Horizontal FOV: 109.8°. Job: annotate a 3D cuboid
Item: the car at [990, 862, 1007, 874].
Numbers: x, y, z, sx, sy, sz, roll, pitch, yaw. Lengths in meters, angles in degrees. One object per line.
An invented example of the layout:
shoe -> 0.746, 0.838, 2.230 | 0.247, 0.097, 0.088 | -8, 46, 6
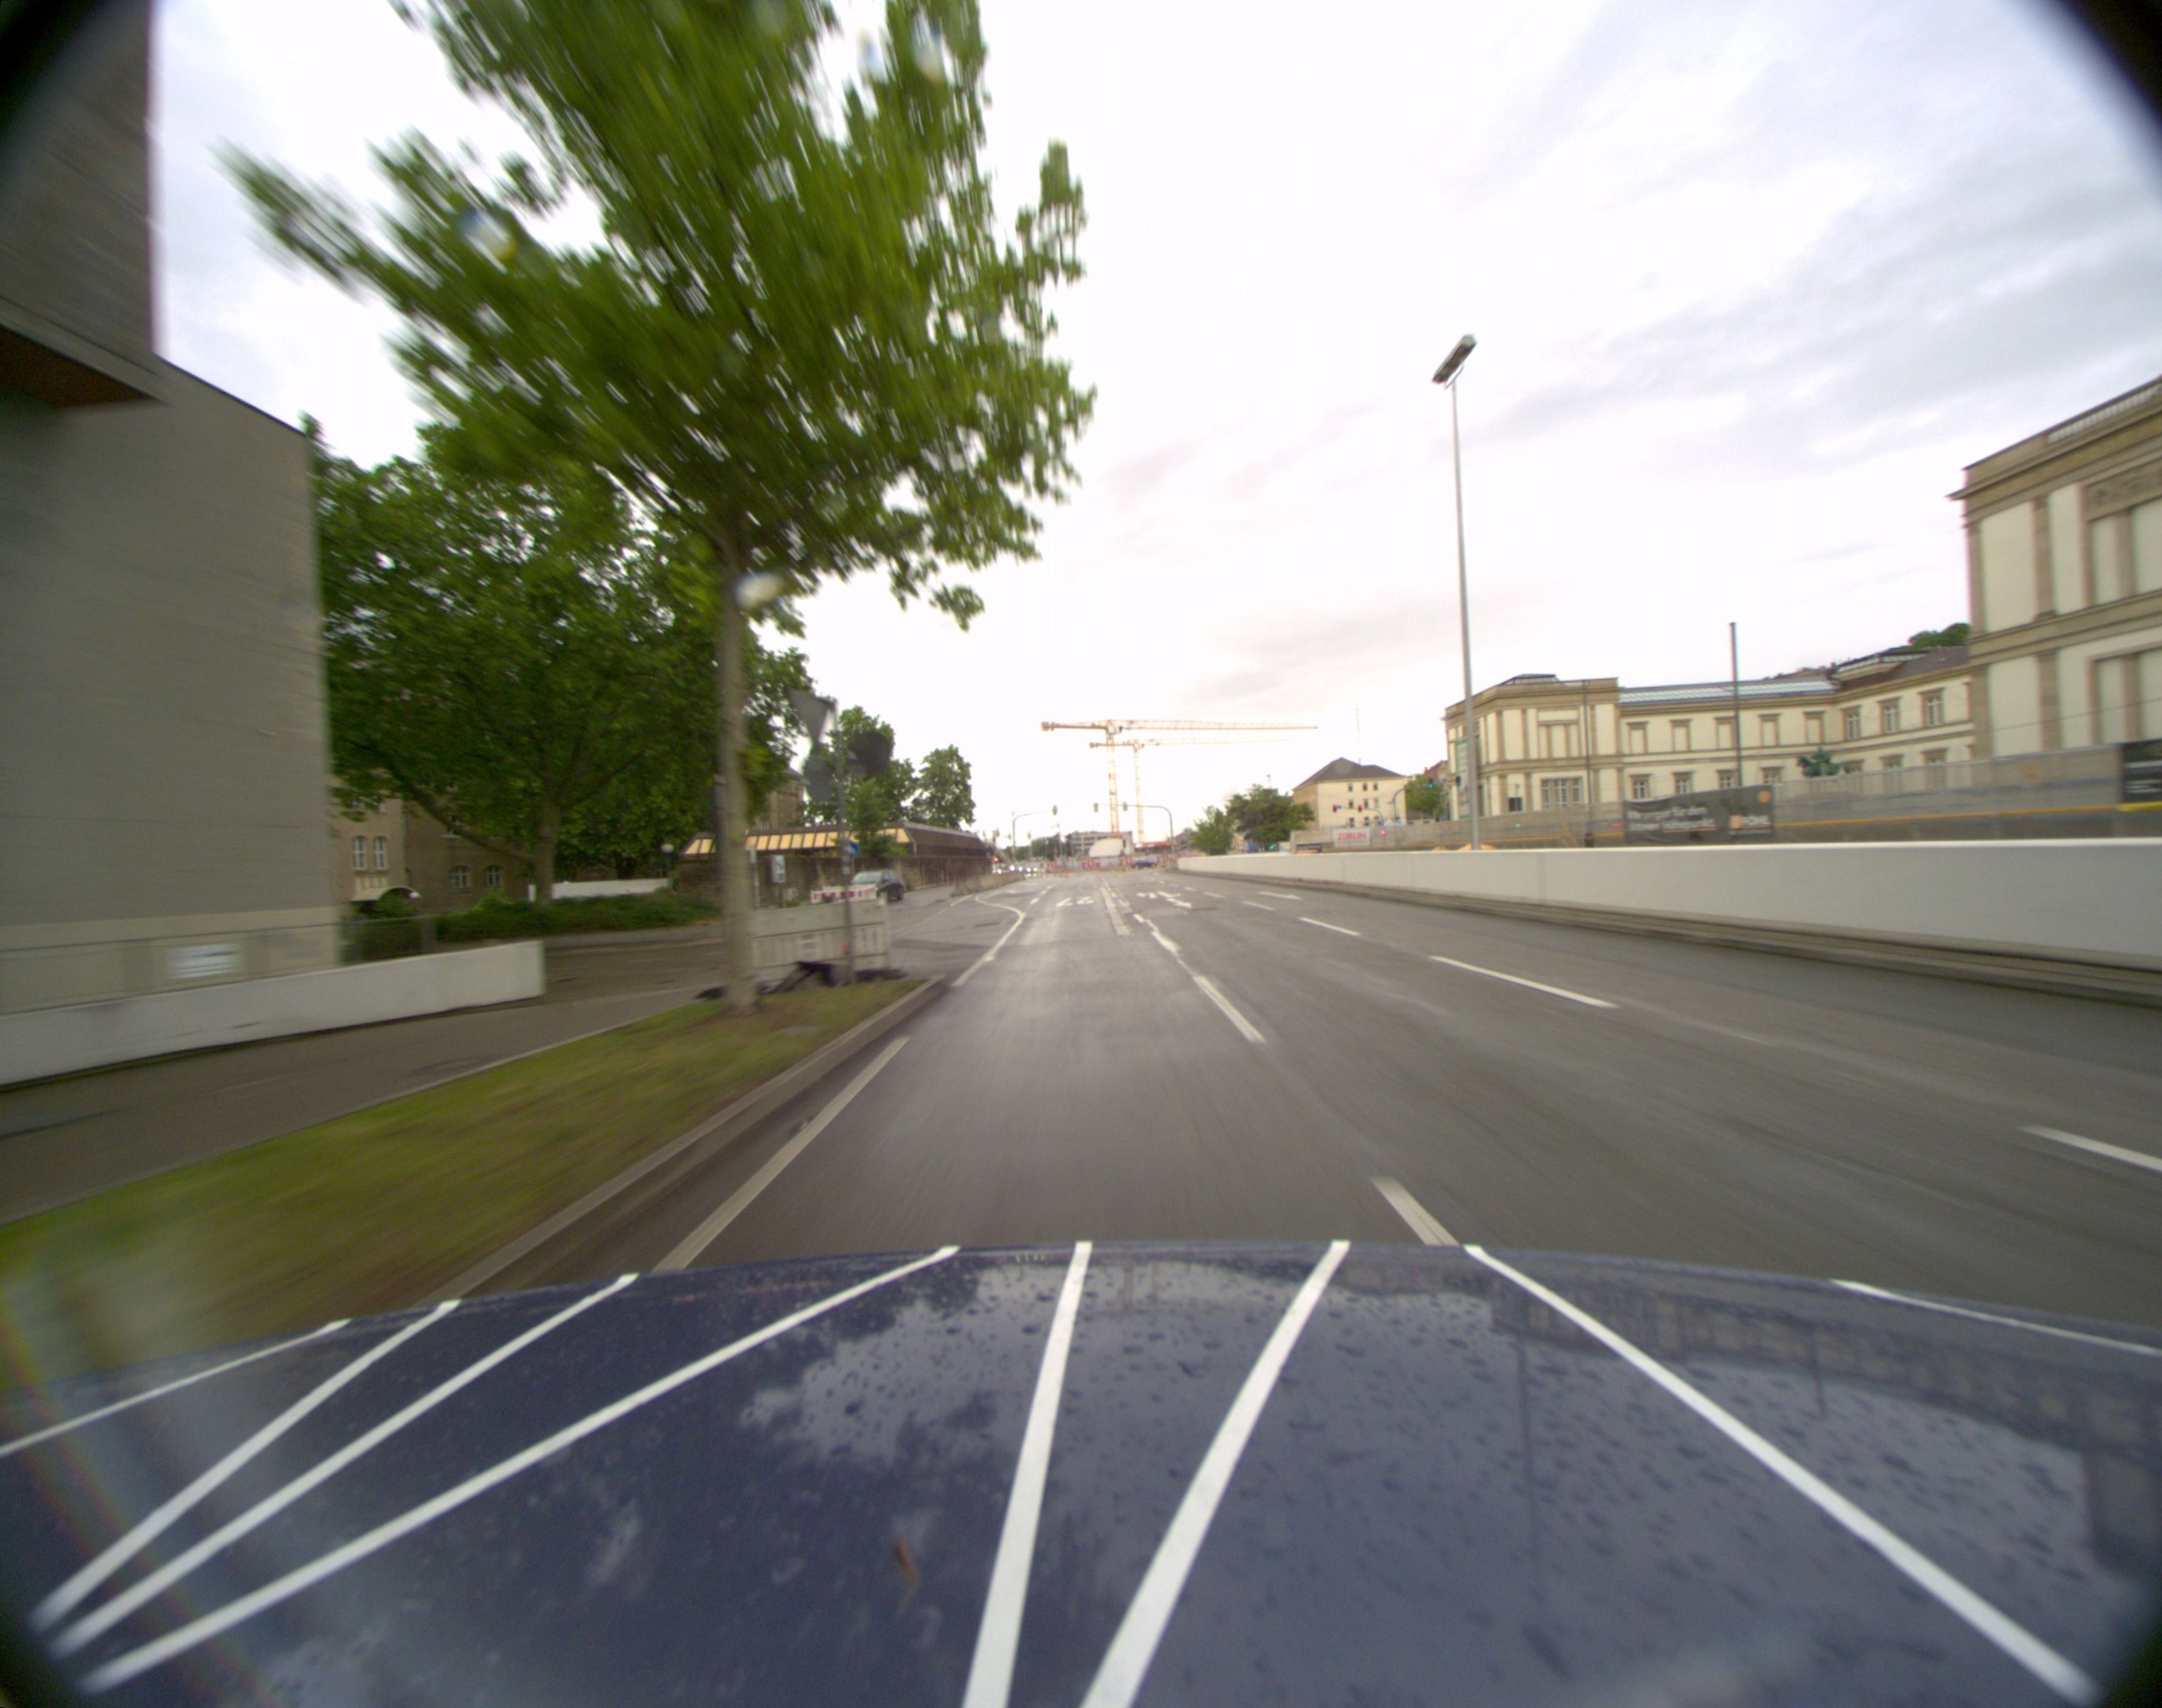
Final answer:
car -> -15.621, 2.641, 143.504 | 2.001, 2.002, 4.417 | -5, 0, -20

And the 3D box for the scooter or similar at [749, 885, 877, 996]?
scooter or similar -> -3.599, 1.151, 10.277 | 1.359, 1.278, 0.619 | -7, 2, 2

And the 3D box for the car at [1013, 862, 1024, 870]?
car -> -13.591, 2.608, 164.668 | 2.000, 1.548, 4.522 | -5, 0, -9

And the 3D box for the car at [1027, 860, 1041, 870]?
car -> -9.060, 2.128, 145.296 | 1.862, 1.556, 3.797 | -5, 0, -16

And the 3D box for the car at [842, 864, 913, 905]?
car -> -9.556, 1.396, 36.031 | 1.808, 1.543, 4.325 | 2, 3, 6
